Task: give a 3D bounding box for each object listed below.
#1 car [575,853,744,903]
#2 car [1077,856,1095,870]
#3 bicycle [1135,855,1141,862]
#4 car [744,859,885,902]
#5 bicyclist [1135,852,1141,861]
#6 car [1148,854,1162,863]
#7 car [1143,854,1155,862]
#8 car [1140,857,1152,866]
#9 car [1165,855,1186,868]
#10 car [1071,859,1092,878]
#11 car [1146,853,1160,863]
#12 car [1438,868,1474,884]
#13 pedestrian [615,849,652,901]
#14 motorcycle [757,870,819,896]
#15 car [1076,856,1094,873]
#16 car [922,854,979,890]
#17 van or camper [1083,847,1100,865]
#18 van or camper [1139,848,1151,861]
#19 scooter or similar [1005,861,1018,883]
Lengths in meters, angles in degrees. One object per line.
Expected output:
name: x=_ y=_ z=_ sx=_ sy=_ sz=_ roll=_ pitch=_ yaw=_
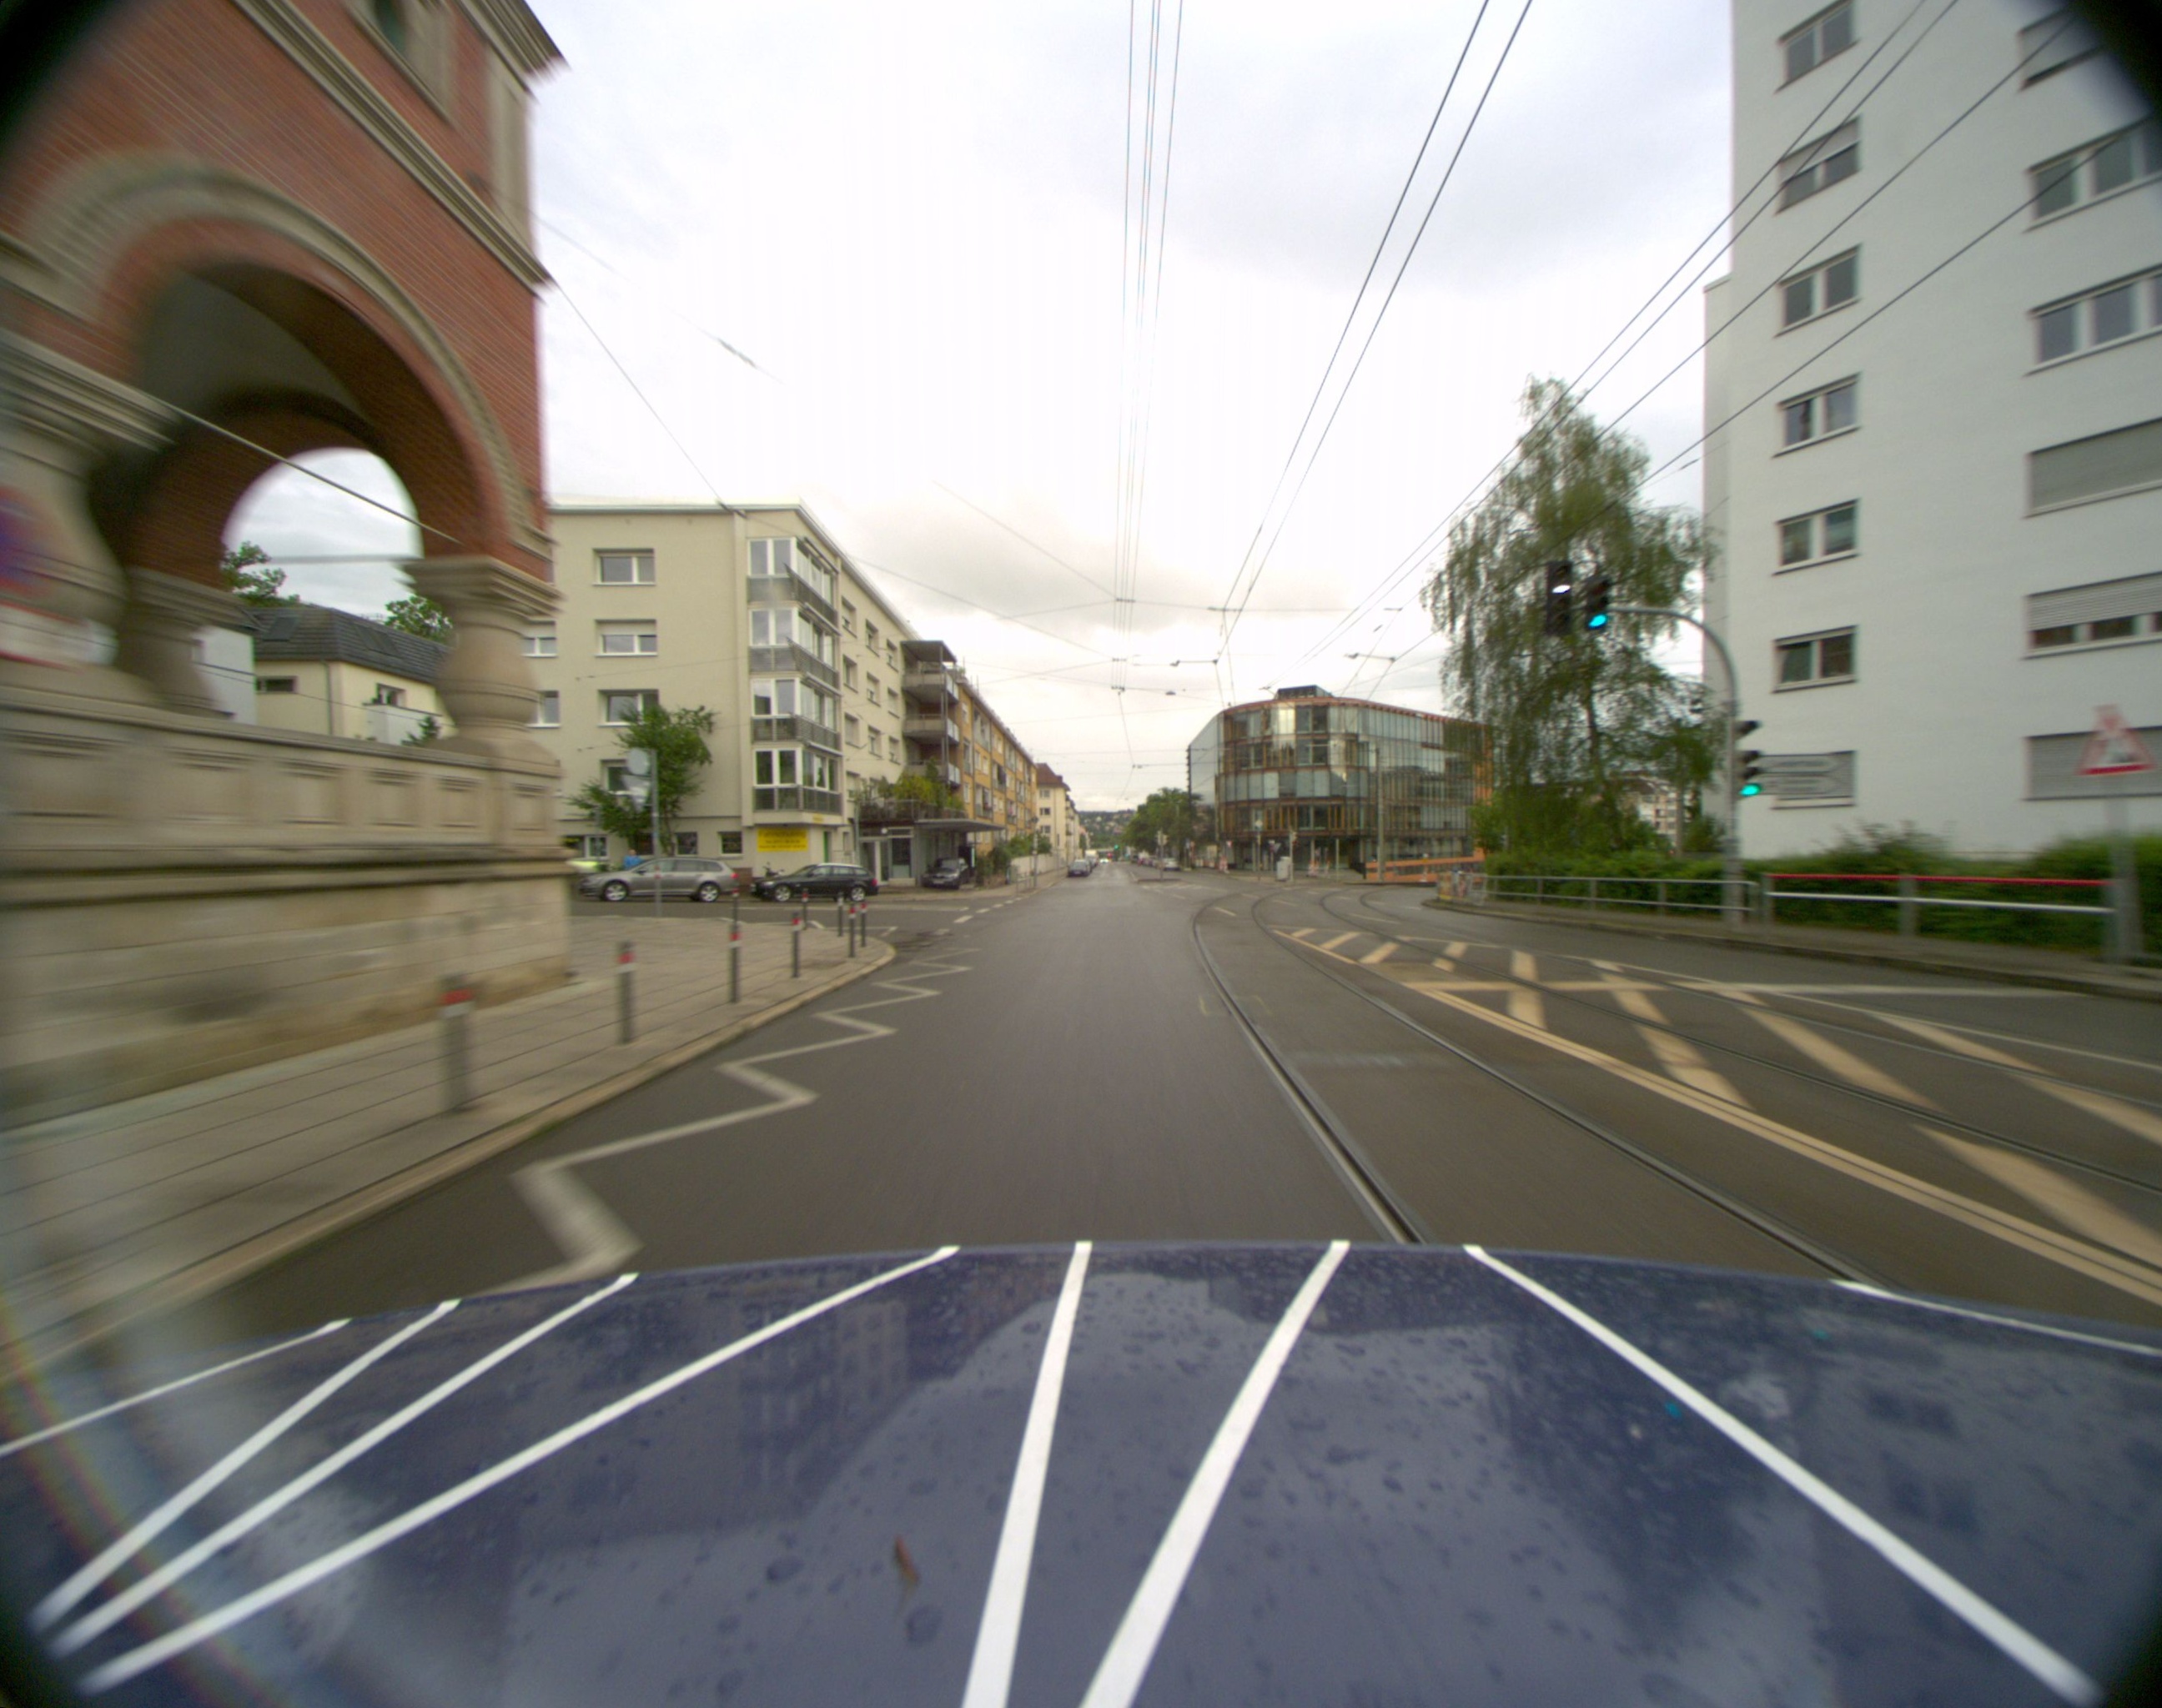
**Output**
car: x=-13.564 y=0.807 z=24.591 sx=4.459 sy=1.448 sz=1.997 roll=3 pitch=-2 yaw=-40
car: x=0.576 y=1.048 z=86.661 sx=1.915 sy=1.418 sz=4.451 roll=-2 pitch=1 yaw=1
bicycle: x=9.683 y=0.835 z=129.245 sx=0.826 sy=1.142 sz=2.127 roll=-1 pitch=1 yaw=2
car: x=-9.716 y=1.001 z=27.886 sx=4.459 sy=1.448 sz=1.997 roll=3 pitch=-3 yaw=-40
bicyclist: x=9.676 y=0.428 z=129.381 sx=0.826 sy=1.453 sz=1.140 roll=-2 pitch=2 yaw=2
car: x=12.178 y=0.726 z=125.715 sx=1.880 sy=1.390 sz=3.999 roll=-1 pitch=1 yaw=-1
car: x=12.702 y=0.713 z=142.194 sx=1.880 sy=1.456 sz=3.517 roll=-1 pitch=1 yaw=-1
car: x=13.015 y=1.471 z=151.686 sx=1.998 sy=1.565 sz=3.999 roll=-2 pitch=1 yaw=1
car: x=10.647 y=0.854 z=86.170 sx=1.862 sy=1.386 sz=4.645 roll=0 pitch=0 yaw=1
car: x=0.075 y=1.318 z=69.376 sx=1.734 sy=1.451 sz=4.477 roll=-2 pitch=1 yaw=1
car: x=12.447 y=0.674 z=131.191 sx=1.880 sy=1.699 sz=3.999 roll=-1 pitch=1 yaw=-1
car: x=39.869 y=2.298 z=80.741 sx=4.007 sy=1.488 sz=1.912 roll=-3 pitch=2 yaw=-39
pedestrian: x=-16.020 y=0.762 z=27.210 sx=1.025 sy=1.788 sz=0.777 roll=4 pitch=-1 yaw=-30
motorcycle: x=-11.719 y=1.166 z=30.394 sx=2.219 sy=0.973 sz=0.550 roll=3 pitch=-1 yaw=-40
car: x=0.373 y=1.029 z=74.138 sx=1.651 sy=1.451 sz=4.101 roll=-2 pitch=1 yaw=0
car: x=-6.450 y=0.859 z=38.033 sx=1.857 sy=1.494 sz=4.448 roll=2 pitch=2 yaw=2
van or camper: x=1.977 y=0.249 z=138.189 sx=2.753 sy=3.041 sz=7.030 roll=-1 pitch=1 yaw=3
van or camper: x=13.312 y=0.134 z=157.615 sx=2.143 sy=2.588 sz=5.550 roll=-2 pitch=1 yaw=3
scooter or similar: x=-4.265 y=1.089 z=46.689 sx=0.536 sy=1.319 sz=1.659 roll=4 pitch=1 yaw=3
